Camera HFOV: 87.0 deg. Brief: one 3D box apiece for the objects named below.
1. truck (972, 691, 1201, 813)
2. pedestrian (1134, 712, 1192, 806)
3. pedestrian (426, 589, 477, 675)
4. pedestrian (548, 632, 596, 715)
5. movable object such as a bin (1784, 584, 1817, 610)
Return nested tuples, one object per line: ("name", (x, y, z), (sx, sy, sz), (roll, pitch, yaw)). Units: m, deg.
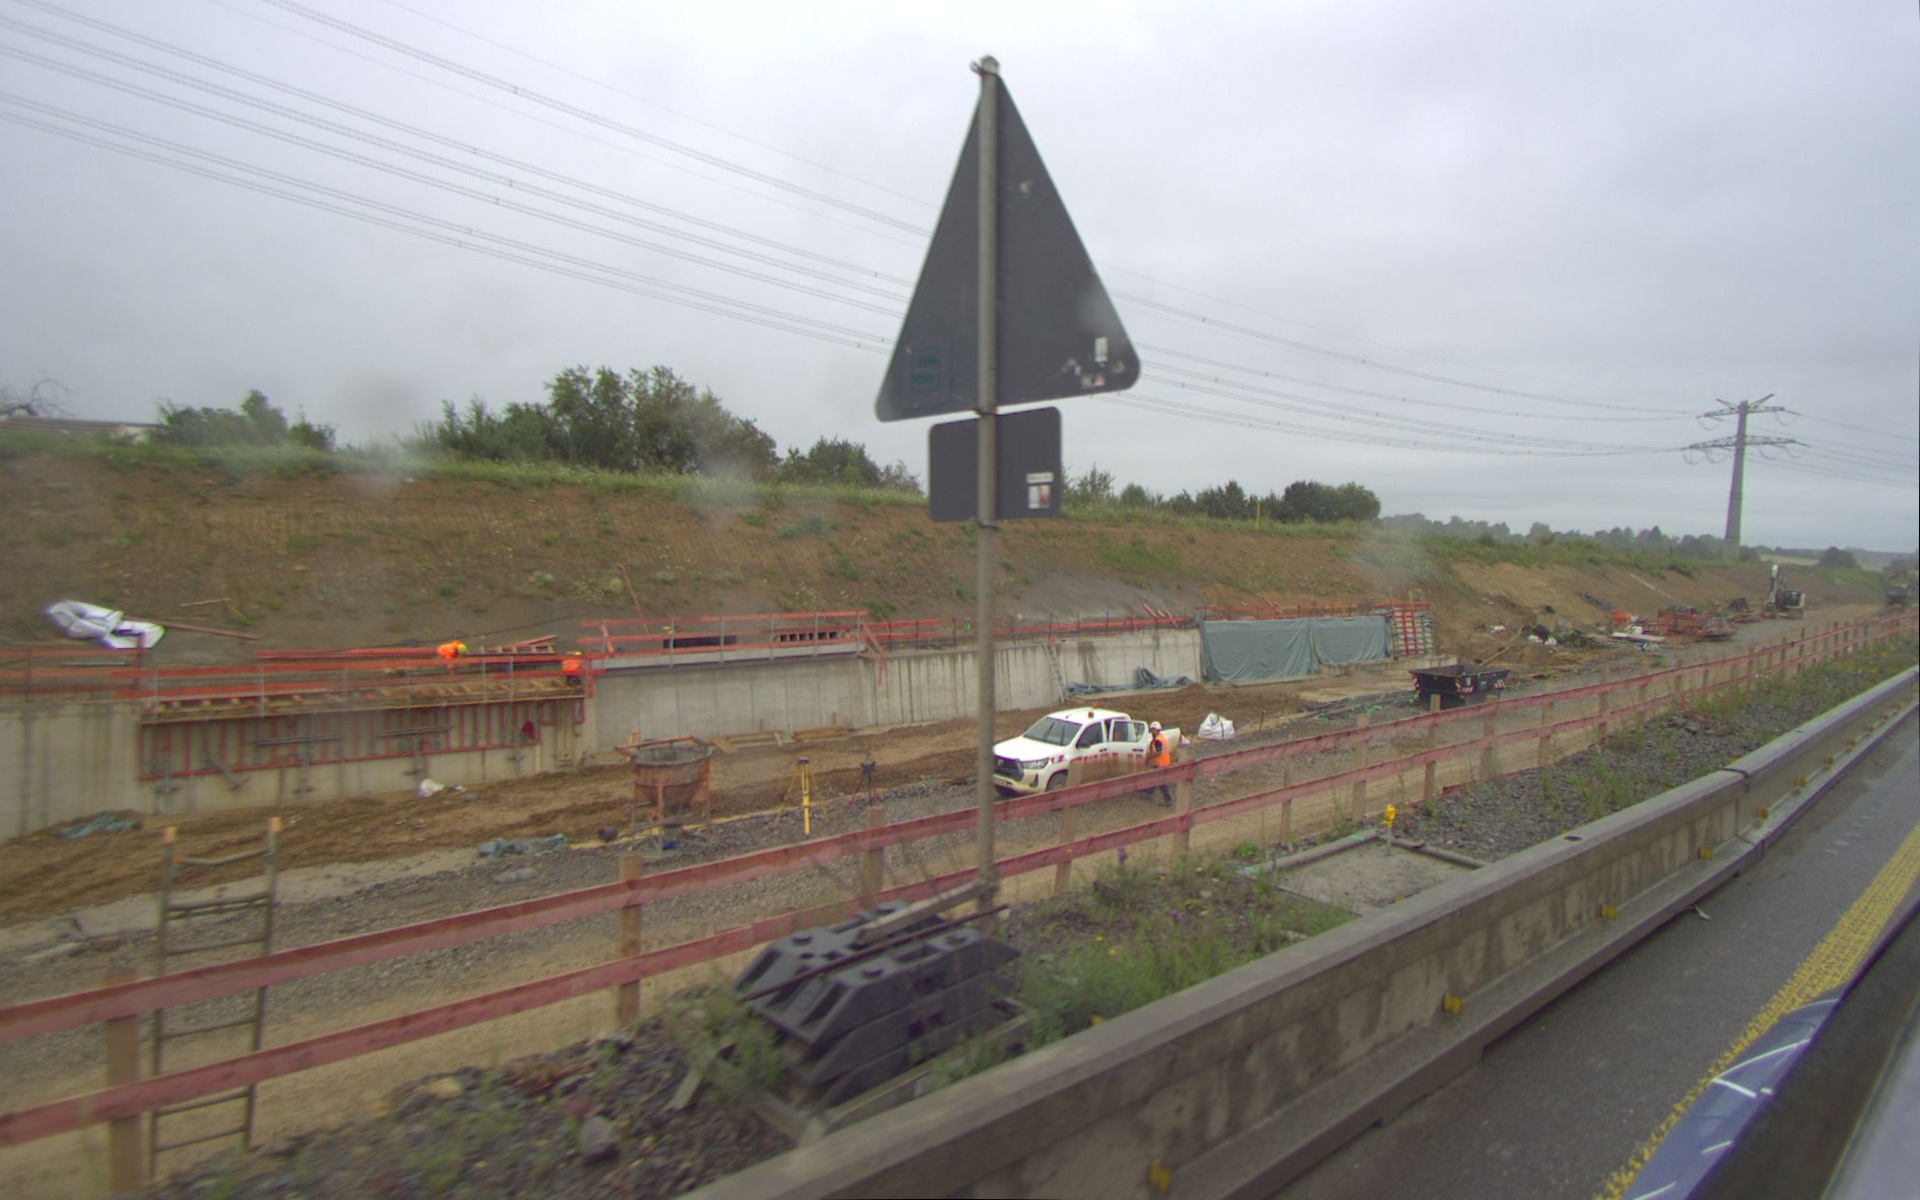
("truck", (3.011, 3.332, 23.126), (5.683, 1.894, 1.766), (-1, 3, -40))
("pedestrian", (4.445, 3.456, 22.178), (0.919, 1.821, 0.810), (-1, 3, -37))
("pedestrian", (-13.980, 0.883, 27.807), (0.989, 2.275, 0.916), (-1, -3, -43))
("pedestrian", (-10.992, 2.065, 28.681), (0.987, 2.260, 0.917), (-2, -3, -36))
("movable object such as a bin", (91.217, -0.332, 109.789), (3.933, 2.753, 2.248), (-1, 1, -43))
